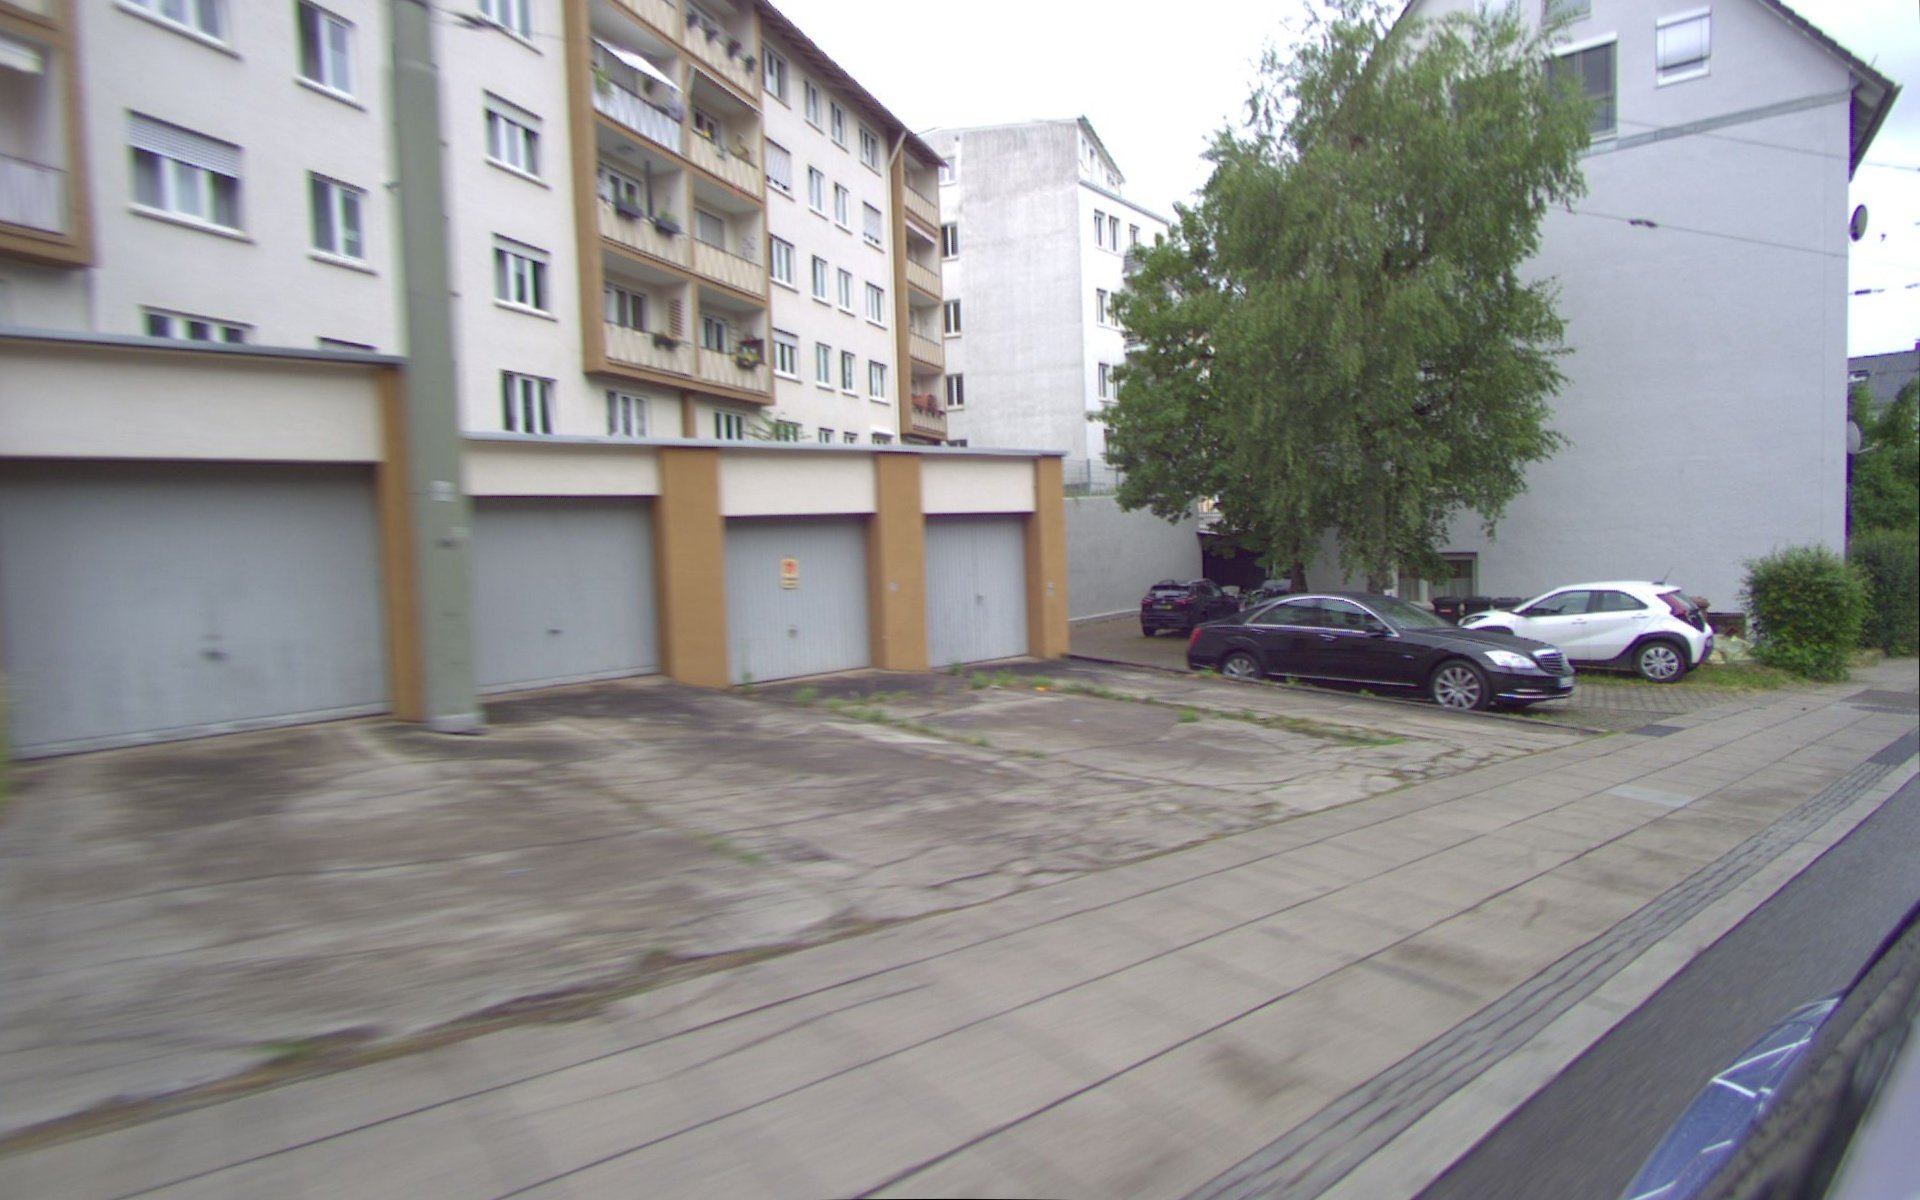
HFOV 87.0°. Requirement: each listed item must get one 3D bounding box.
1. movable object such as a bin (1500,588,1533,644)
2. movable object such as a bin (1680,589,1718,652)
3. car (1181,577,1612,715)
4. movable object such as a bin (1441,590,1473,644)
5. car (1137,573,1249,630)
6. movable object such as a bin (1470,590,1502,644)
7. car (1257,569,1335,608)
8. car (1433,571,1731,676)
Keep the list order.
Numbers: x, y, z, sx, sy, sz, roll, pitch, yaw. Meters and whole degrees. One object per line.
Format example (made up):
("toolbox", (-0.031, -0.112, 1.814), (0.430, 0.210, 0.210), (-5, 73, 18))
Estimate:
("movable object such as a bin", (11.591, 0.328, 21.083), (0.513, 1.126, 0.635), (1, 1, 36))
("movable object such as a bin", (14.047, 0.383, 19.252), (0.532, 1.154, 0.693), (-1, 0, 34))
("car", (5.566, 0.510, 13.540), (1.940, 1.454, 4.941), (-3, 1, -39))
("movable object such as a bin", (10.674, 0.350, 21.744), (0.513, 1.126, 0.635), (1, 1, 36))
("car", (6.835, 0.012, 29.417), (1.680, 1.530, 3.946), (-1, 0, 37))
("movable object such as a bin", (11.136, 0.347, 21.434), (0.513, 1.126, 0.635), (1, 1, 36))
("car", (12.674, -0.437, 38.104), (1.646, 1.353, 3.788), (-1, 0, 37))
("car", (10.334, 0.288, 17.000), (1.788, 1.484, 3.989), (-4, 4, -45))
